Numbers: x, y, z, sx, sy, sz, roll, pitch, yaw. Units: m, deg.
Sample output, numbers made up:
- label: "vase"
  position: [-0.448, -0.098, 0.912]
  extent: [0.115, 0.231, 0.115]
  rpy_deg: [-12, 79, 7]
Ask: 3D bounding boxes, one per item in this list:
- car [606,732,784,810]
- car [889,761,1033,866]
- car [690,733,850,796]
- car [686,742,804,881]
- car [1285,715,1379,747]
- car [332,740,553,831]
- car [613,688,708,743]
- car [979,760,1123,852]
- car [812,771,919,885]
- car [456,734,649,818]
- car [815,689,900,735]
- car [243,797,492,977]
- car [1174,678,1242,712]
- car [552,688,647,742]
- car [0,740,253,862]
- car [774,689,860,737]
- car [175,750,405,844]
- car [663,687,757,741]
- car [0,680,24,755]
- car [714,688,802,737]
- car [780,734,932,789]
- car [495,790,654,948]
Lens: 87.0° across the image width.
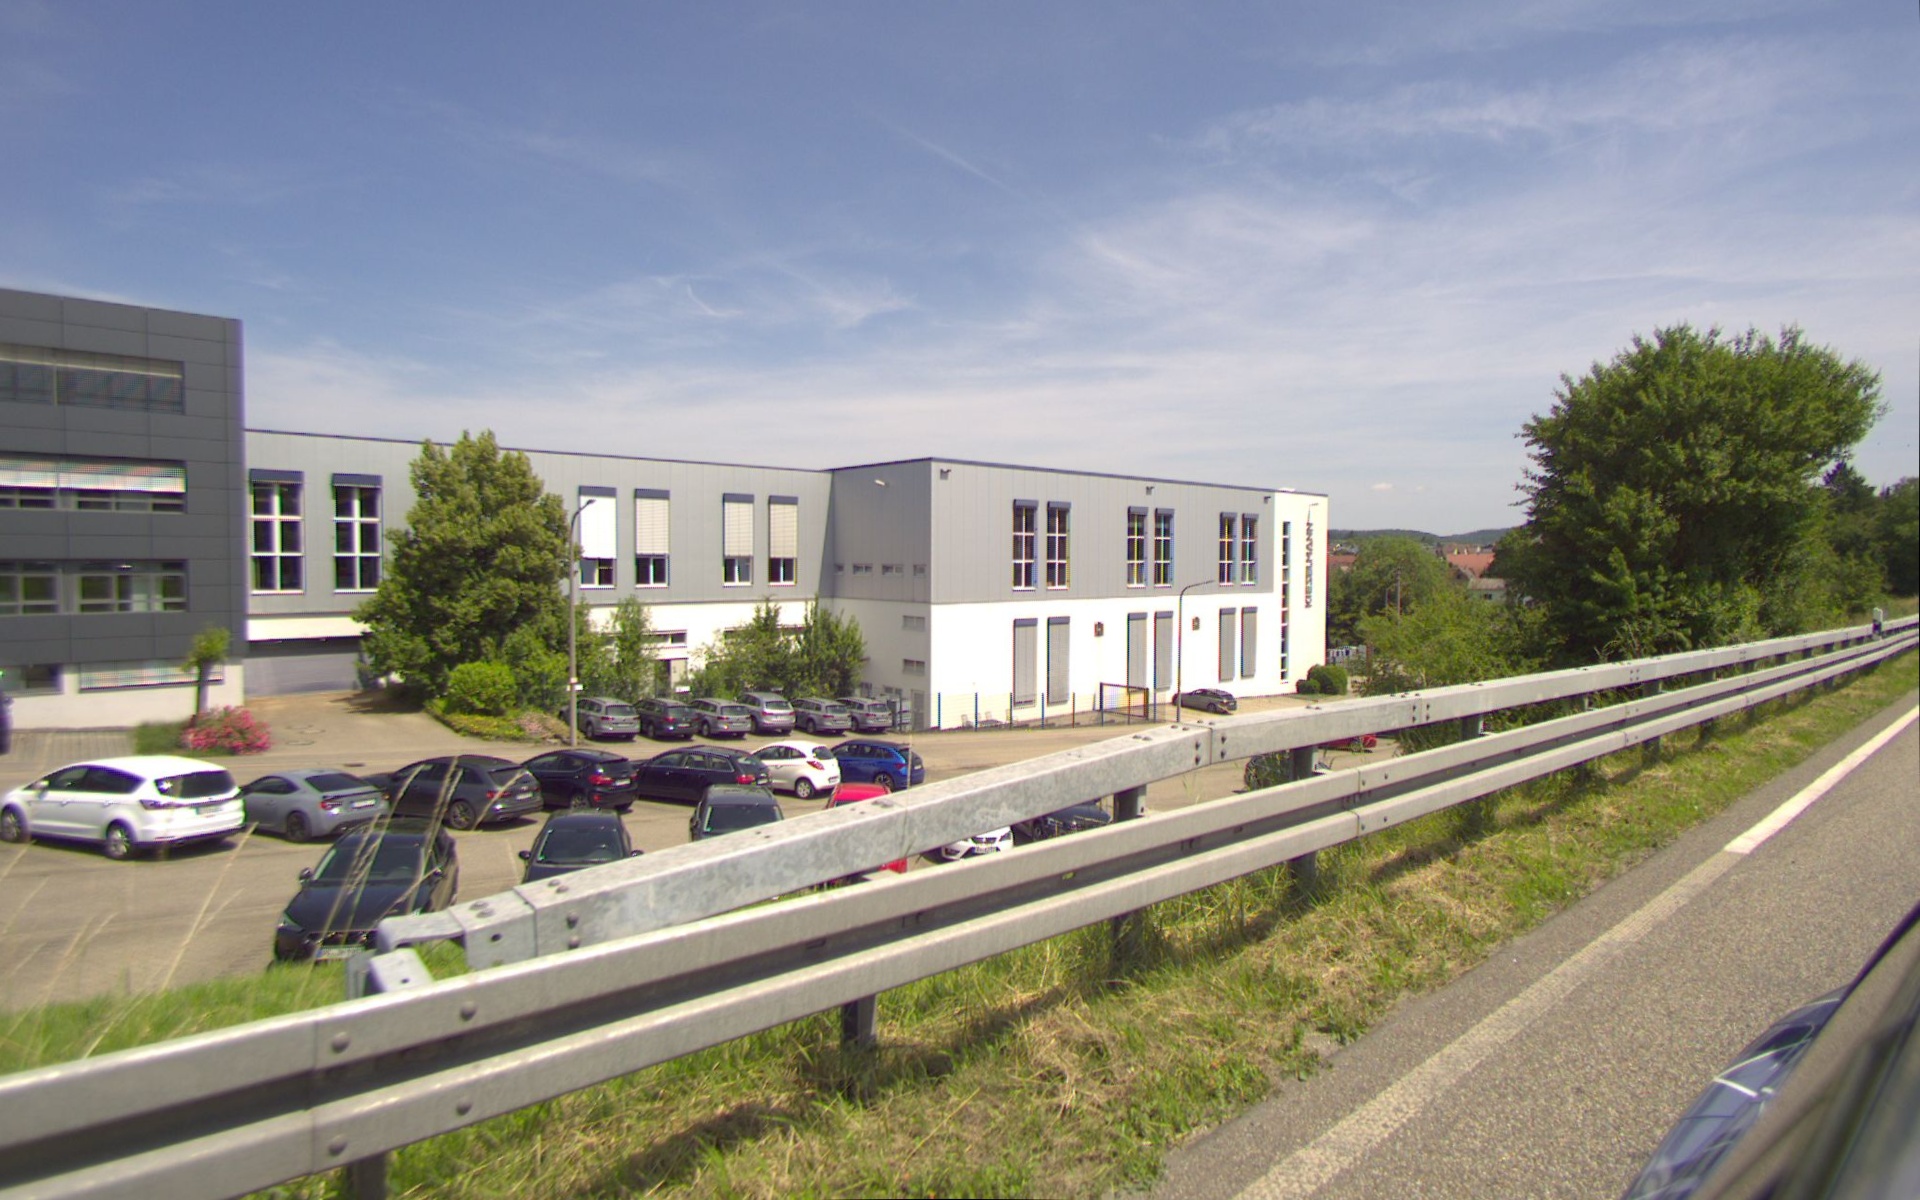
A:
- label: "car"
  position: [-7.114, 4.543, 27.233]
  extent: [4.354, 1.561, 1.778]
  rpy_deg: [1, -4, 19]
- label: "car"
  position: [-0.106, 4.700, 22.898]
  extent: [1.859, 1.685, 4.417]
  rpy_deg: [1, -5, -19]
- label: "car"
  position: [-5.608, 4.809, 29.903]
  extent: [4.353, 1.626, 1.778]
  rpy_deg: [-2, -5, 19]
- label: "car"
  position: [-4.404, 4.058, 20.265]
  extent: [2.035, 2.041, 4.731]
  rpy_deg: [1, -4, -15]
- label: "car"
  position: [18.851, 6.625, 51.472]
  extent: [4.353, 1.464, 1.778]
  rpy_deg: [-2, -5, 19]
- label: "car"
  position: [-11.806, 4.193, 23.184]
  extent: [4.346, 1.530, 1.781]
  rpy_deg: [2, -4, 14]
- label: "car"
  position: [-12.223, 4.631, 41.086]
  extent: [1.789, 1.592, 4.578]
  rpy_deg: [3, 0, -43]
- label: "car"
  position: [2.065, 4.870, 24.455]
  extent: [1.752, 1.564, 4.417]
  rpy_deg: [1, -5, -19]
- label: "car"
  position: [-1.973, 4.529, 20.677]
  extent: [1.945, 1.580, 4.413]
  rpy_deg: [0, -4, -6]
- label: "car"
  position: [-10.199, 4.349, 25.377]
  extent: [4.354, 1.556, 1.778]
  rpy_deg: [2, -3, 19]
- label: "car"
  position: [-4.885, 5.252, 47.787]
  extent: [1.879, 1.592, 4.043]
  rpy_deg: [3, 0, -43]
- label: "car"
  position: [-8.240, 3.915, 14.622]
  extent: [1.874, 1.508, 4.731]
  rpy_deg: [1, -4, -15]
- label: "car"
  position: [16.812, 6.410, 68.666]
  extent: [1.879, 1.591, 4.045]
  rpy_deg: [4, 3, -43]
- label: "car"
  position: [-14.129, 4.434, 39.487]
  extent: [1.789, 1.592, 4.577]
  rpy_deg: [3, -1, -43]
- label: "car"
  position: [-16.059, 3.726, 19.267]
  extent: [4.524, 1.682, 1.779]
  rpy_deg: [2, -4, 17]
- label: "car"
  position: [-6.543, 5.086, 46.013]
  extent: [1.879, 1.592, 4.043]
  rpy_deg: [3, 0, -43]
- label: "car"
  position: [-14.067, 4.076, 21.305]
  extent: [4.103, 1.396, 1.779]
  rpy_deg: [2, -4, 17]
- label: "car"
  position: [-10.601, 4.747, 42.740]
  extent: [1.789, 1.592, 4.578]
  rpy_deg: [3, 0, -43]
- label: "car"
  position: [-27.502, 3.231, 28.161]
  extent: [1.787, 1.592, 4.582]
  rpy_deg: [4, -1, -39]
- label: "car"
  position: [-8.952, 4.902, 44.662]
  extent: [1.879, 1.592, 4.043]
  rpy_deg: [3, 0, -43]
- label: "car"
  position: [-3.221, 4.975, 31.386]
  extent: [4.353, 1.464, 1.778]
  rpy_deg: [-2, -5, 19]
- label: "car"
  position: [-6.116, 4.204, 16.572]
  extent: [1.919, 1.585, 4.731]
  rpy_deg: [1, -4, -15]
